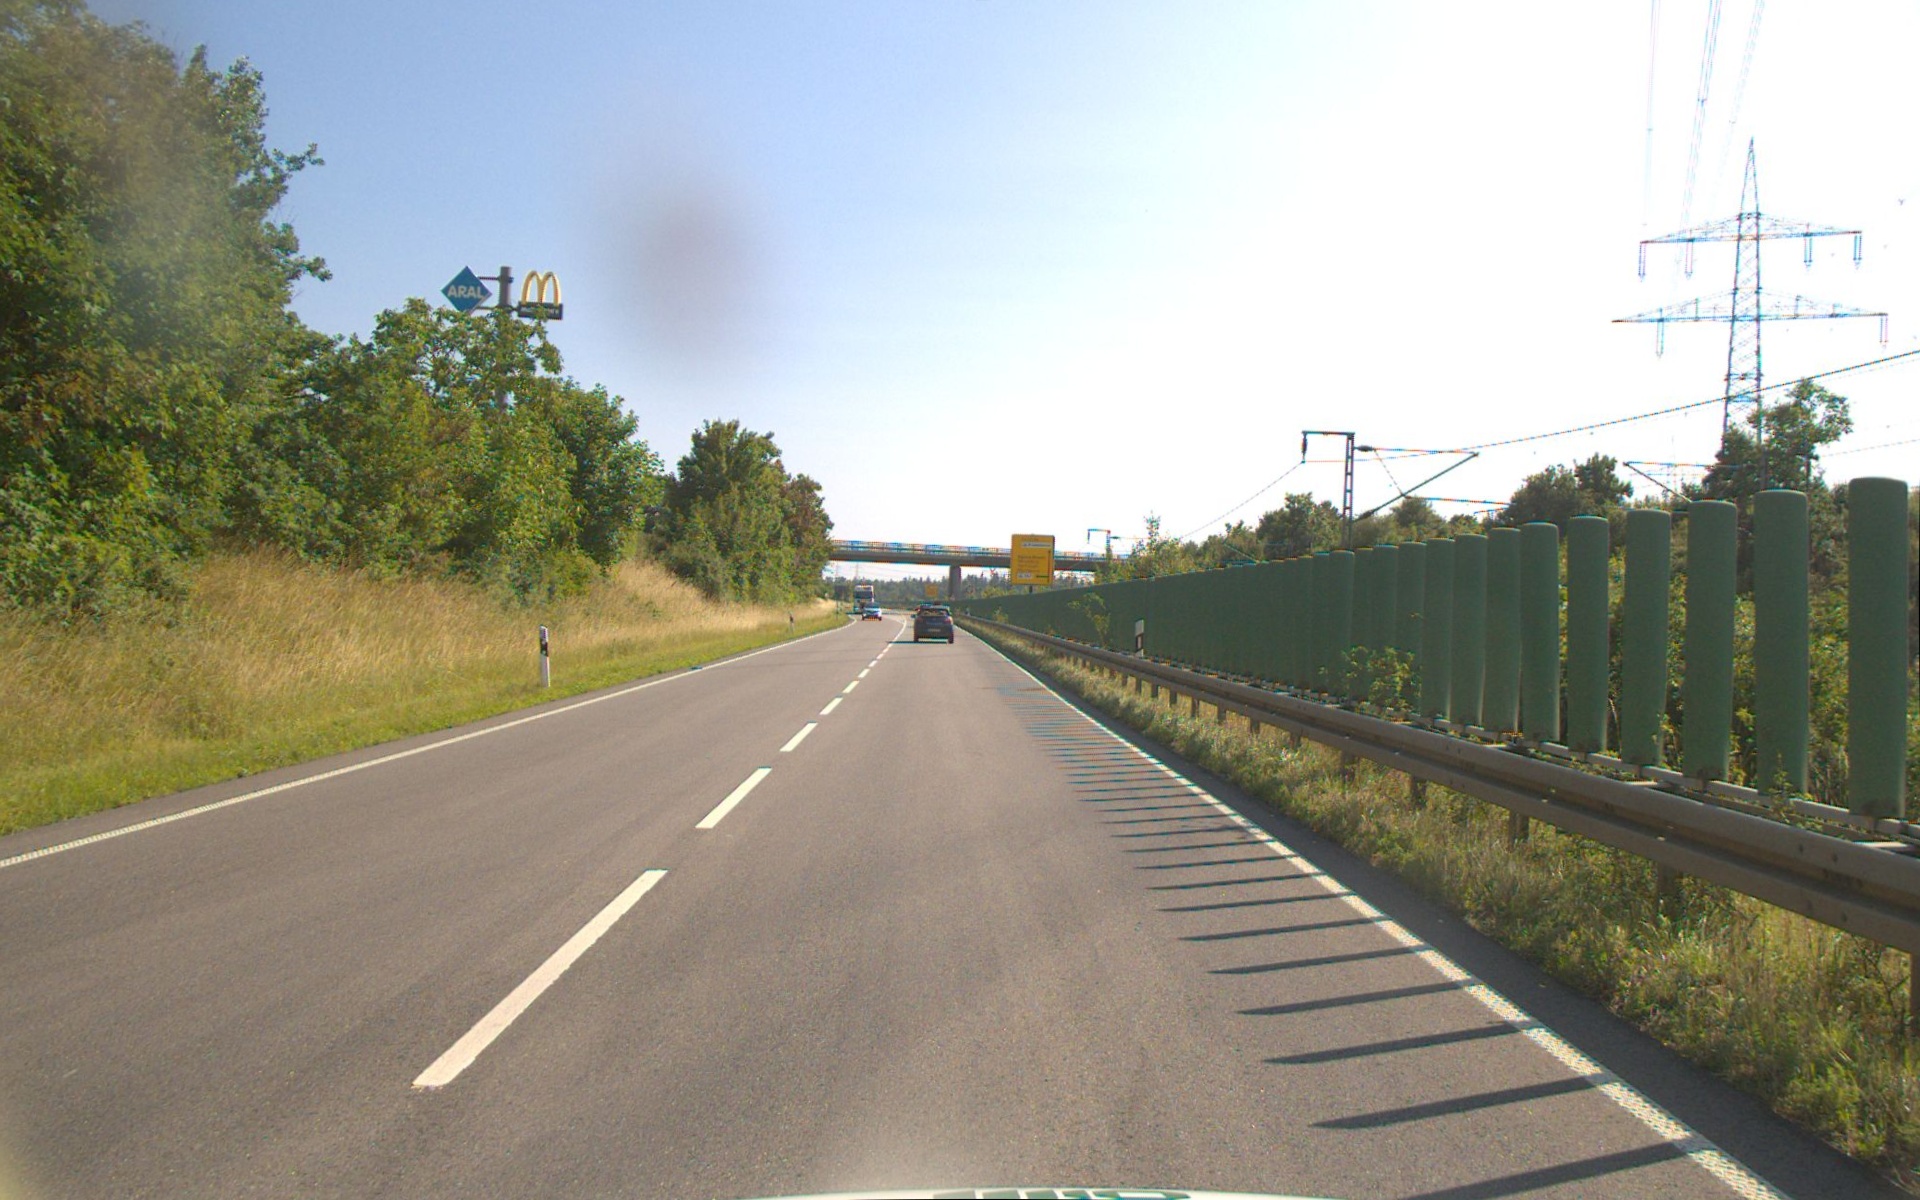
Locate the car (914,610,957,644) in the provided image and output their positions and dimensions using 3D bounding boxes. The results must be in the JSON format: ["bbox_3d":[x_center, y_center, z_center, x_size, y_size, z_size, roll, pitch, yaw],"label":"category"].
[{"bbox_3d":[-1.011,1.055,66.390,1.630,1.283,3.998,1,0,-2],"label":"car"}]

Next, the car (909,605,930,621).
[{"bbox_3d":[-3.873,1.222,157.246,1.857,1.443,3.998,1,0,-2],"label":"car"}]

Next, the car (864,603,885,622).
[{"bbox_3d":[-7.532,1.118,146.562,1.760,1.621,3.998,1,0,-2],"label":"car"}]

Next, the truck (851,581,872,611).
[{"bbox_3d":[-12.854,-0.484,216.386,2.508,3.753,10.482,1,0,-2],"label":"truck"}]
